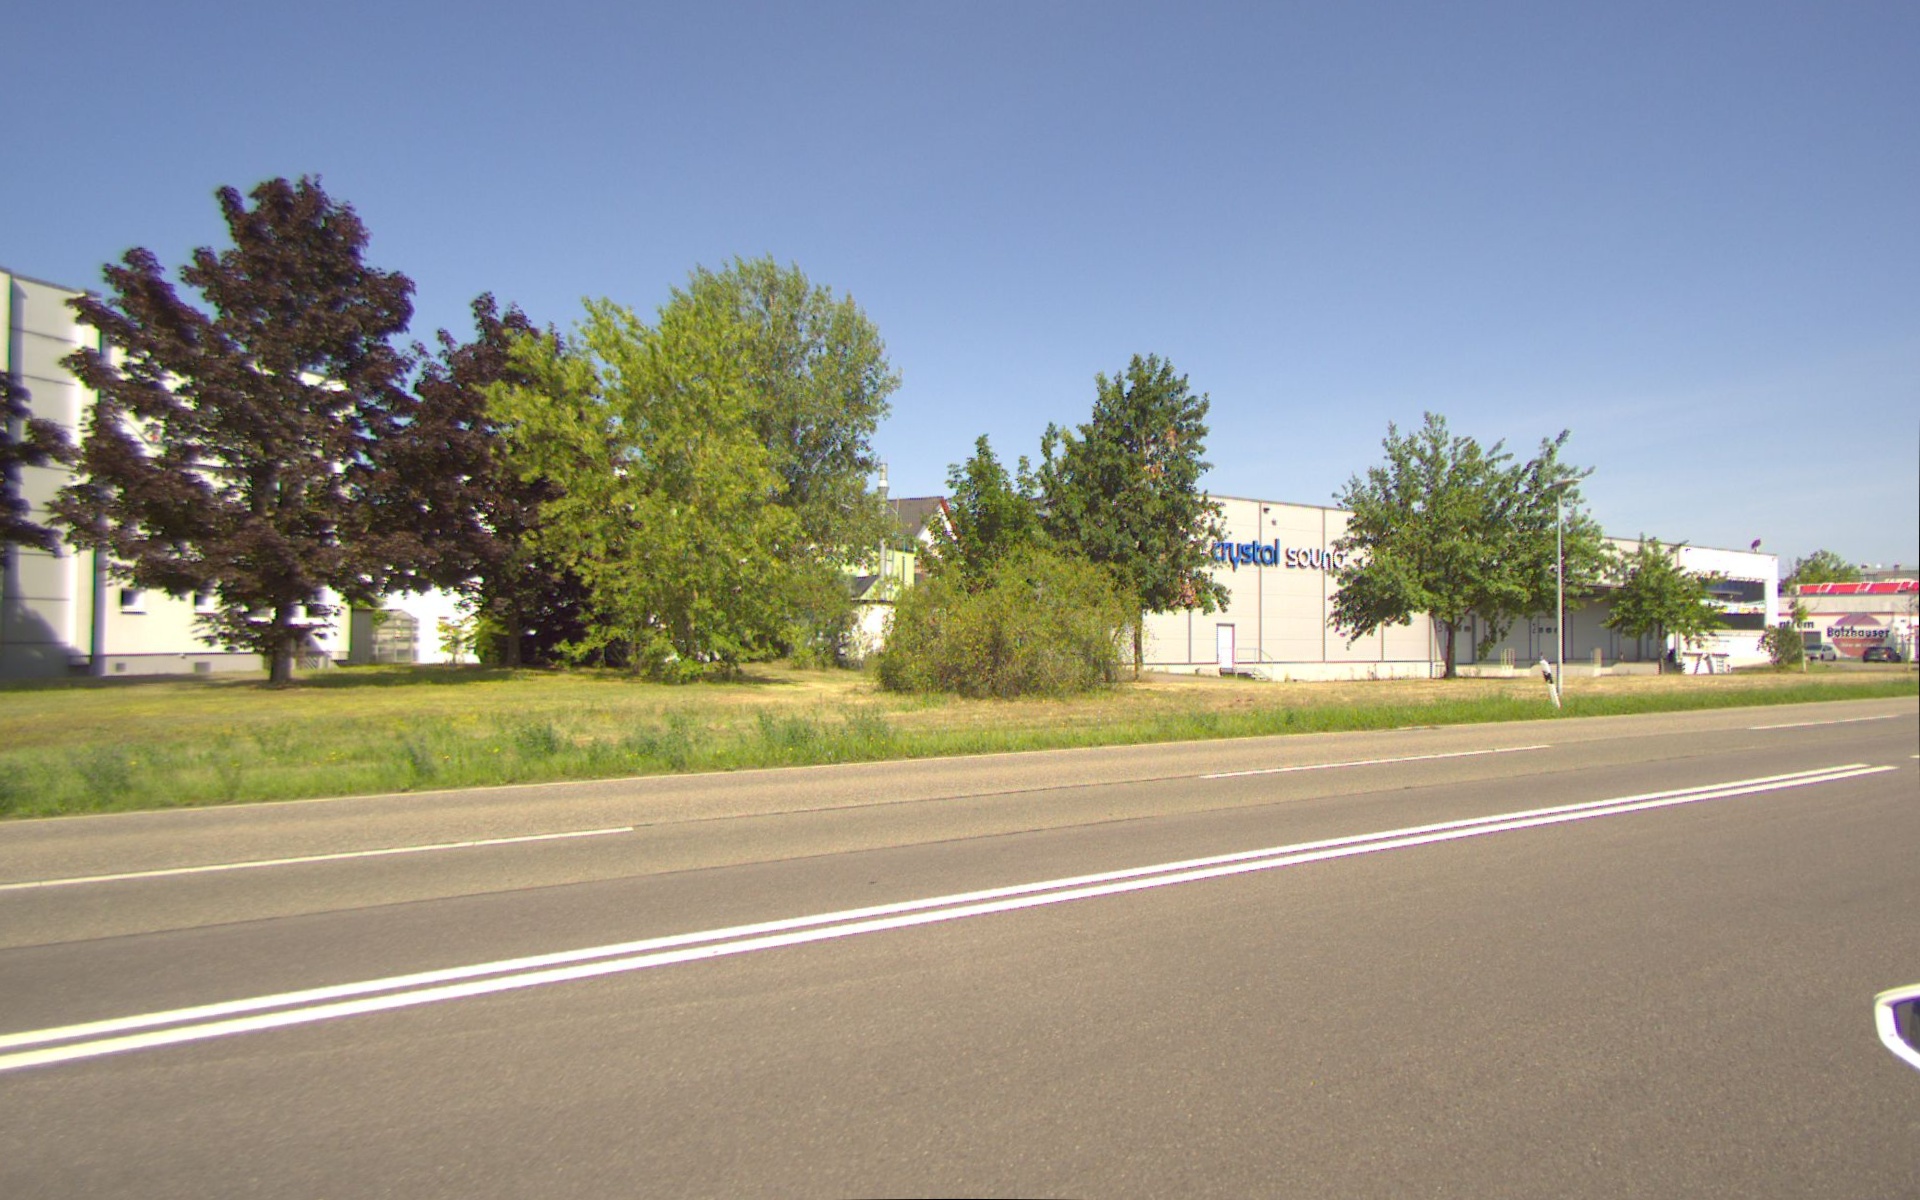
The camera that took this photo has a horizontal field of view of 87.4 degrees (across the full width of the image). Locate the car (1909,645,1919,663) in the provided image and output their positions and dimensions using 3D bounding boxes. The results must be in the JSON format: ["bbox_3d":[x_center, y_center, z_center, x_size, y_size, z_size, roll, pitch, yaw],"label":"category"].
[{"bbox_3d":[84.105,4.653,86.602,1.705,1.520,4.002,0,-2,17],"label":"car"}]

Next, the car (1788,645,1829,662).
[{"bbox_3d":[74.691,4.728,88.419,3.680,1.429,1.628,2,-2,-31],"label":"car"}]

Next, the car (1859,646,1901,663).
[{"bbox_3d":[77.103,4.572,84.205,3.680,1.408,1.628,2,-2,-31],"label":"car"}]
